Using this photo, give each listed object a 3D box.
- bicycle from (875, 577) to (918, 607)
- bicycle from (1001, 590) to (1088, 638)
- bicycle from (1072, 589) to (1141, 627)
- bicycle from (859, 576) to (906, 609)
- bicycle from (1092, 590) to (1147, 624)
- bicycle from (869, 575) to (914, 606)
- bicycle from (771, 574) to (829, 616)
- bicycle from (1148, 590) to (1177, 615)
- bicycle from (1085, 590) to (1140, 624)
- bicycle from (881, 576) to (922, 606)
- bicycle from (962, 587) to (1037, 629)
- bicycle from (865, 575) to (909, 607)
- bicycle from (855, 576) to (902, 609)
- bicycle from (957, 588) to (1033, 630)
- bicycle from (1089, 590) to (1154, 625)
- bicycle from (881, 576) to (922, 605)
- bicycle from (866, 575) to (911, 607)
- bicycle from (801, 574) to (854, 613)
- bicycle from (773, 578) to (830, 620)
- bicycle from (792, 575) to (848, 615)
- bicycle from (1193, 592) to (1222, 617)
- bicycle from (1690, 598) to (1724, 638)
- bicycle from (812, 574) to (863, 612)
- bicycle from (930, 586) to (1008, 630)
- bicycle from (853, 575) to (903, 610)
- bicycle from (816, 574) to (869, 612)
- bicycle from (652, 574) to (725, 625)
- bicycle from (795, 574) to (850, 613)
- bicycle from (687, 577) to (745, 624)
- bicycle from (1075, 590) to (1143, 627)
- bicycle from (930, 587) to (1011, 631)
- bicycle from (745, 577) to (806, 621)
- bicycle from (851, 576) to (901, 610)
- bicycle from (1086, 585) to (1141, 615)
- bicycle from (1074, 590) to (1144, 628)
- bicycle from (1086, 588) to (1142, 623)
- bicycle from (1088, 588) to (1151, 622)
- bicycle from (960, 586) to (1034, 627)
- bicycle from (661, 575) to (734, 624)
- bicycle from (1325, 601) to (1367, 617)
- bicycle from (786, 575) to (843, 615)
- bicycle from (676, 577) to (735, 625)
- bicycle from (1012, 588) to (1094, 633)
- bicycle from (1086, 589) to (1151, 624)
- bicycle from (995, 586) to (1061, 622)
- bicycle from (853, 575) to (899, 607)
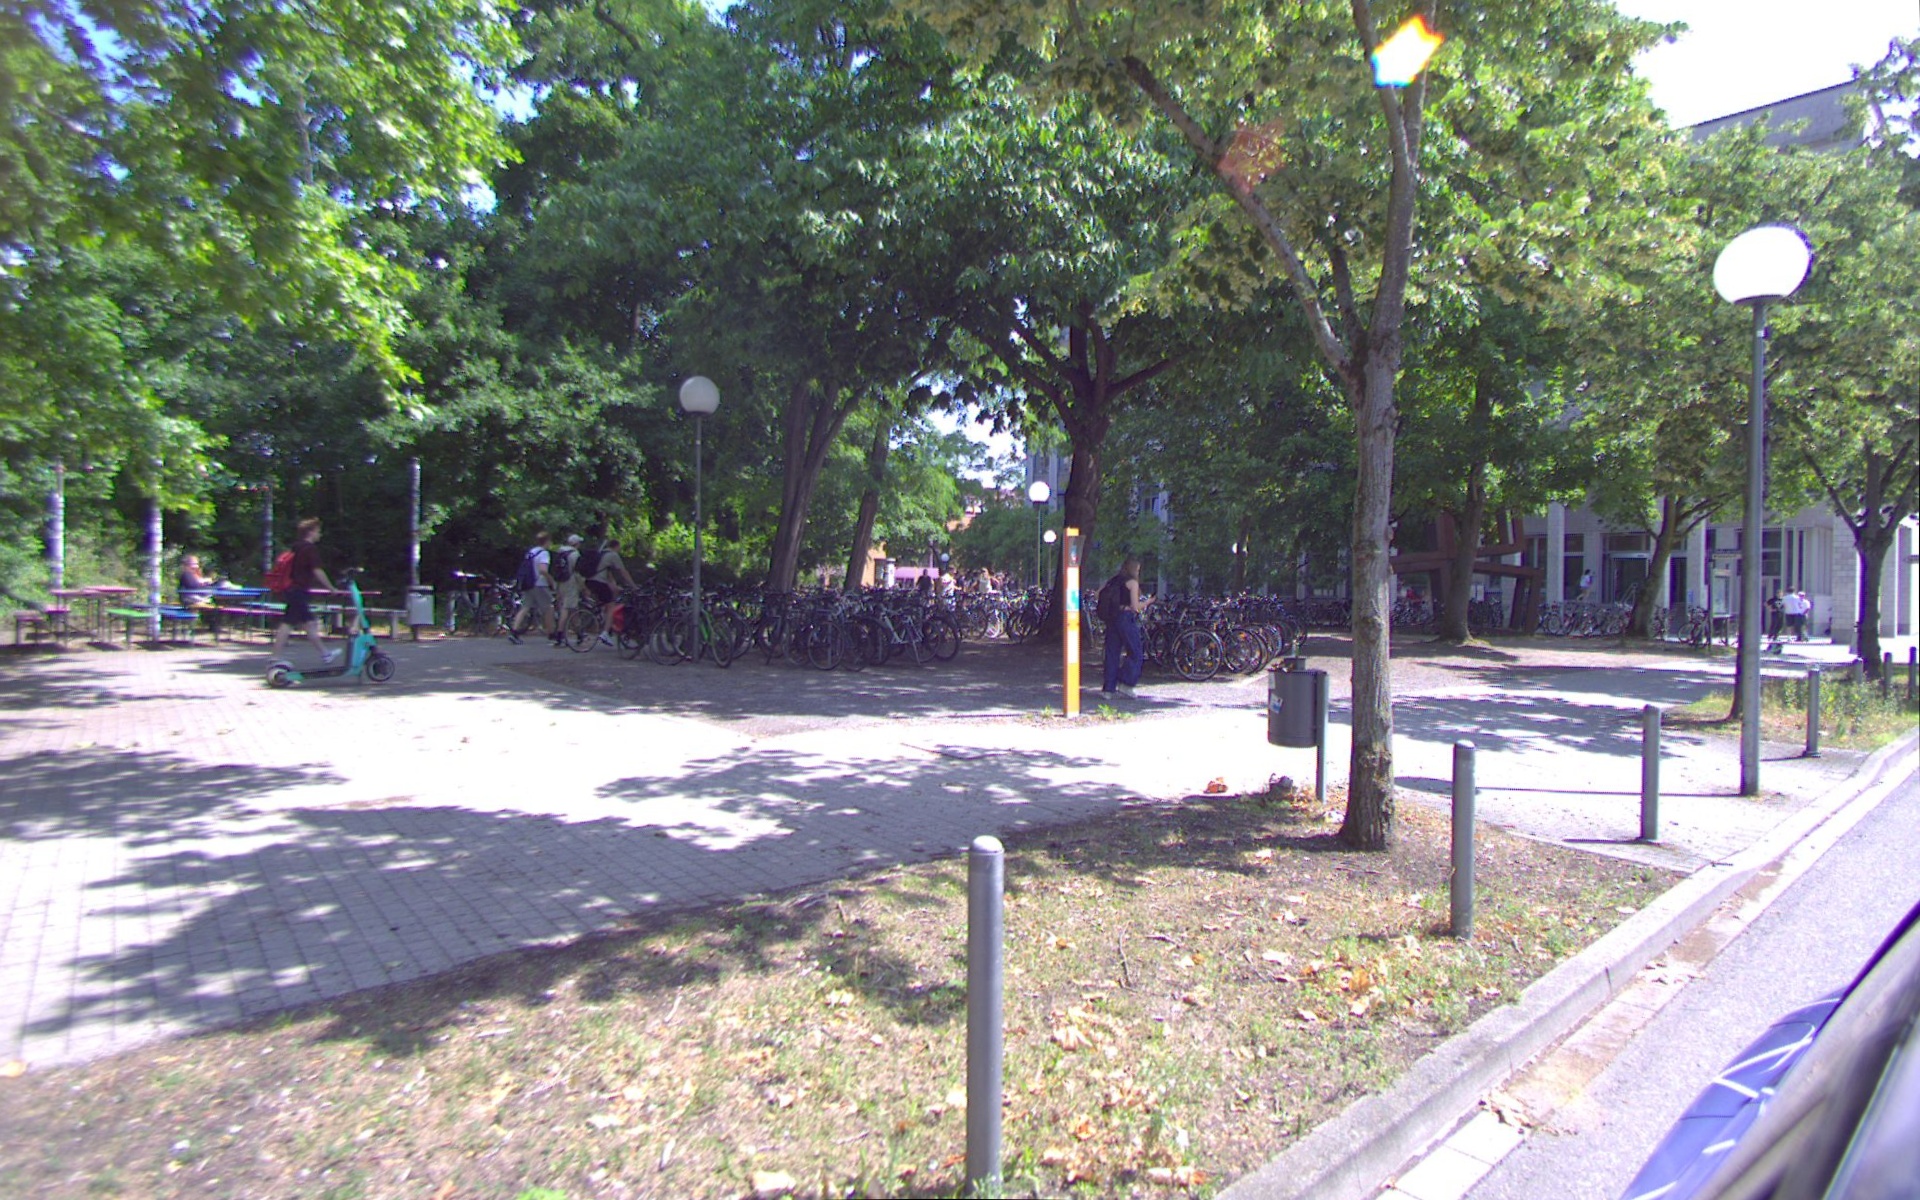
[{"bbox_3d":[-2.460,-0.318,39.146,1.578,1.107,0.348,1,1,-7],"label":"bicycle"},{"bbox_3d":[1.857,0.302,22.398,1.868,0.991,0.478,2,1,1],"label":"bicycle"},{"bbox_3d":[4.162,0.227,28.825,1.880,0.991,0.376,2,1,20],"label":"bicycle"},{"bbox_3d":[-2.736,-0.277,35.557,1.586,1.107,0.347,2,1,12],"label":"bicycle"},{"bbox_3d":[5.157,0.224,32.805,1.714,1.035,0.477,2,1,9],"label":"bicycle"},{"bbox_3d":[-2.544,-0.345,37.627,1.586,1.107,0.347,2,1,12],"label":"bicycle"},{"bbox_3d":[-4.527,-0.151,28.661,1.591,1.107,0.475,2,1,21],"label":"bicycle"},{"bbox_3d":[9.323,0.127,46.630,0.477,1.098,1.661,-2,-3,44],"label":"bicycle"},{"bbox_3d":[4.894,0.219,32.547,1.714,1.035,0.292,2,1,9],"label":"bicycle"},{"bbox_3d":[-2.342,-0.360,40.279,1.581,1.107,0.348,2,1,1],"label":"bicycle"},{"bbox_3d":[1.016,0.195,25.872,1.873,0.991,0.377,2,1,11],"label":"bicycle"},{"bbox_3d":[-2.675,-0.329,37.051,1.586,1.107,0.335,2,1,12],"label":"bicycle"},{"bbox_3d":[-2.832,-0.268,35.184,1.586,1.107,0.347,2,1,12],"label":"bicycle"},{"bbox_3d":[0.879,0.217,25.478,1.873,0.991,0.377,2,1,11],"label":"bicycle"},{"bbox_3d":[4.803,0.213,30.130,1.867,0.991,0.379,2,1,0],"label":"bicycle"},{"bbox_3d":[-2.344,-0.375,40.627,1.581,1.107,0.348,2,1,1],"label":"bicycle"},{"bbox_3d":[-2.642,-0.337,37.292,1.586,1.107,0.347,2,1,12],"label":"bicycle"},{"bbox_3d":[-4.011,-0.204,30.667,1.591,1.107,0.346,2,1,21],"label":"bicycle"},{"bbox_3d":[-4.413,-0.038,28.238,1.591,1.107,0.346,2,1,21],"label":"bicycle"},{"bbox_3d":[-4.099,-0.163,29.607,1.591,1.107,0.475,2,1,21],"label":"bicycle"},{"bbox_3d":[11.035,0.220,45.097,0.477,1.098,1.661,-2,-3,44],"label":"bicycle"},{"bbox_3d":[22.850,0.529,30.953,1.465,1.155,0.560,0,3,-44],"label":"bicycle"},{"bbox_3d":[-3.799,-0.226,31.382,1.591,1.107,0.346,2,1,21],"label":"bicycle"},{"bbox_3d":[0.223,0.195,24.840,1.873,0.991,0.377,2,1,11],"label":"bicycle"},{"bbox_3d":[-2.710,-0.246,33.407,1.587,1.107,0.346,2,1,14],"label":"bicycle"},{"bbox_3d":[-3.681,-0.232,31.718,1.591,1.107,0.475,2,1,21],"label":"bicycle"},{"bbox_3d":[-6.370,-0.020,23.706,1.734,1.107,0.475,2,1,24],"label":"bicycle"},{"bbox_3d":[-4.124,-0.196,30.335,1.591,1.107,0.475,2,1,21],"label":"bicycle"},{"bbox_3d":[-6.060,-0.001,25.070,1.598,1.107,0.344,3,2,31],"label":"bicycle"},{"bbox_3d":[4.273,0.235,29.137,1.880,0.991,0.376,2,1,20],"label":"bicycle"},{"bbox_3d":[0.254,0.208,24.374,1.873,0.991,0.477,2,1,11],"label":"bicycle"},{"bbox_3d":[-4.981,-0.033,27.330,1.591,1.107,0.475,2,1,21],"label":"bicycle"},{"bbox_3d":[-2.852,-0.234,34.388,1.586,1.107,0.477,2,1,12],"label":"bicycle"},{"bbox_3d":[5.483,0.007,36.139,1.868,0.991,0.479,2,1,0],"label":"bicycle"},{"bbox_3d":[4.169,0.249,28.383,1.880,0.991,0.376,2,1,20],"label":"bicycle"},{"bbox_3d":[4.883,0.165,32.171,1.714,1.035,0.477,2,1,9],"label":"bicycle"},{"bbox_3d":[4.952,0.138,31.414,1.868,0.991,0.378,2,1,1],"label":"bicycle"},{"bbox_3d":[0.982,0.165,26.640,1.874,0.991,0.477,2,1,11],"label":"bicycle"},{"bbox_3d":[-6.240,-0.026,24.028,1.734,1.107,0.475,2,1,24],"label":"bicycle"},{"bbox_3d":[20.488,0.471,53.703,1.981,0.769,0.634,3,1,40],"label":"bicycle"},{"bbox_3d":[-4.209,-0.155,29.273,1.591,1.107,0.475,2,1,21],"label":"bicycle"},{"bbox_3d":[-6.234,0.003,24.758,1.598,1.107,0.344,3,2,31],"label":"bicycle"},{"bbox_3d":[2.197,0.246,23.903,1.872,0.991,0.477,2,1,8],"label":"bicycle"},{"bbox_3d":[4.792,0.192,30.580,1.867,0.991,0.379,2,1,0],"label":"bicycle"},{"bbox_3d":[2.004,0.114,29.808,1.880,0.991,0.376,2,1,20],"label":"bicycle"},{"bbox_3d":[-3.013,-0.324,36.258,1.586,1.107,0.347,2,1,12],"label":"bicycle"}]
